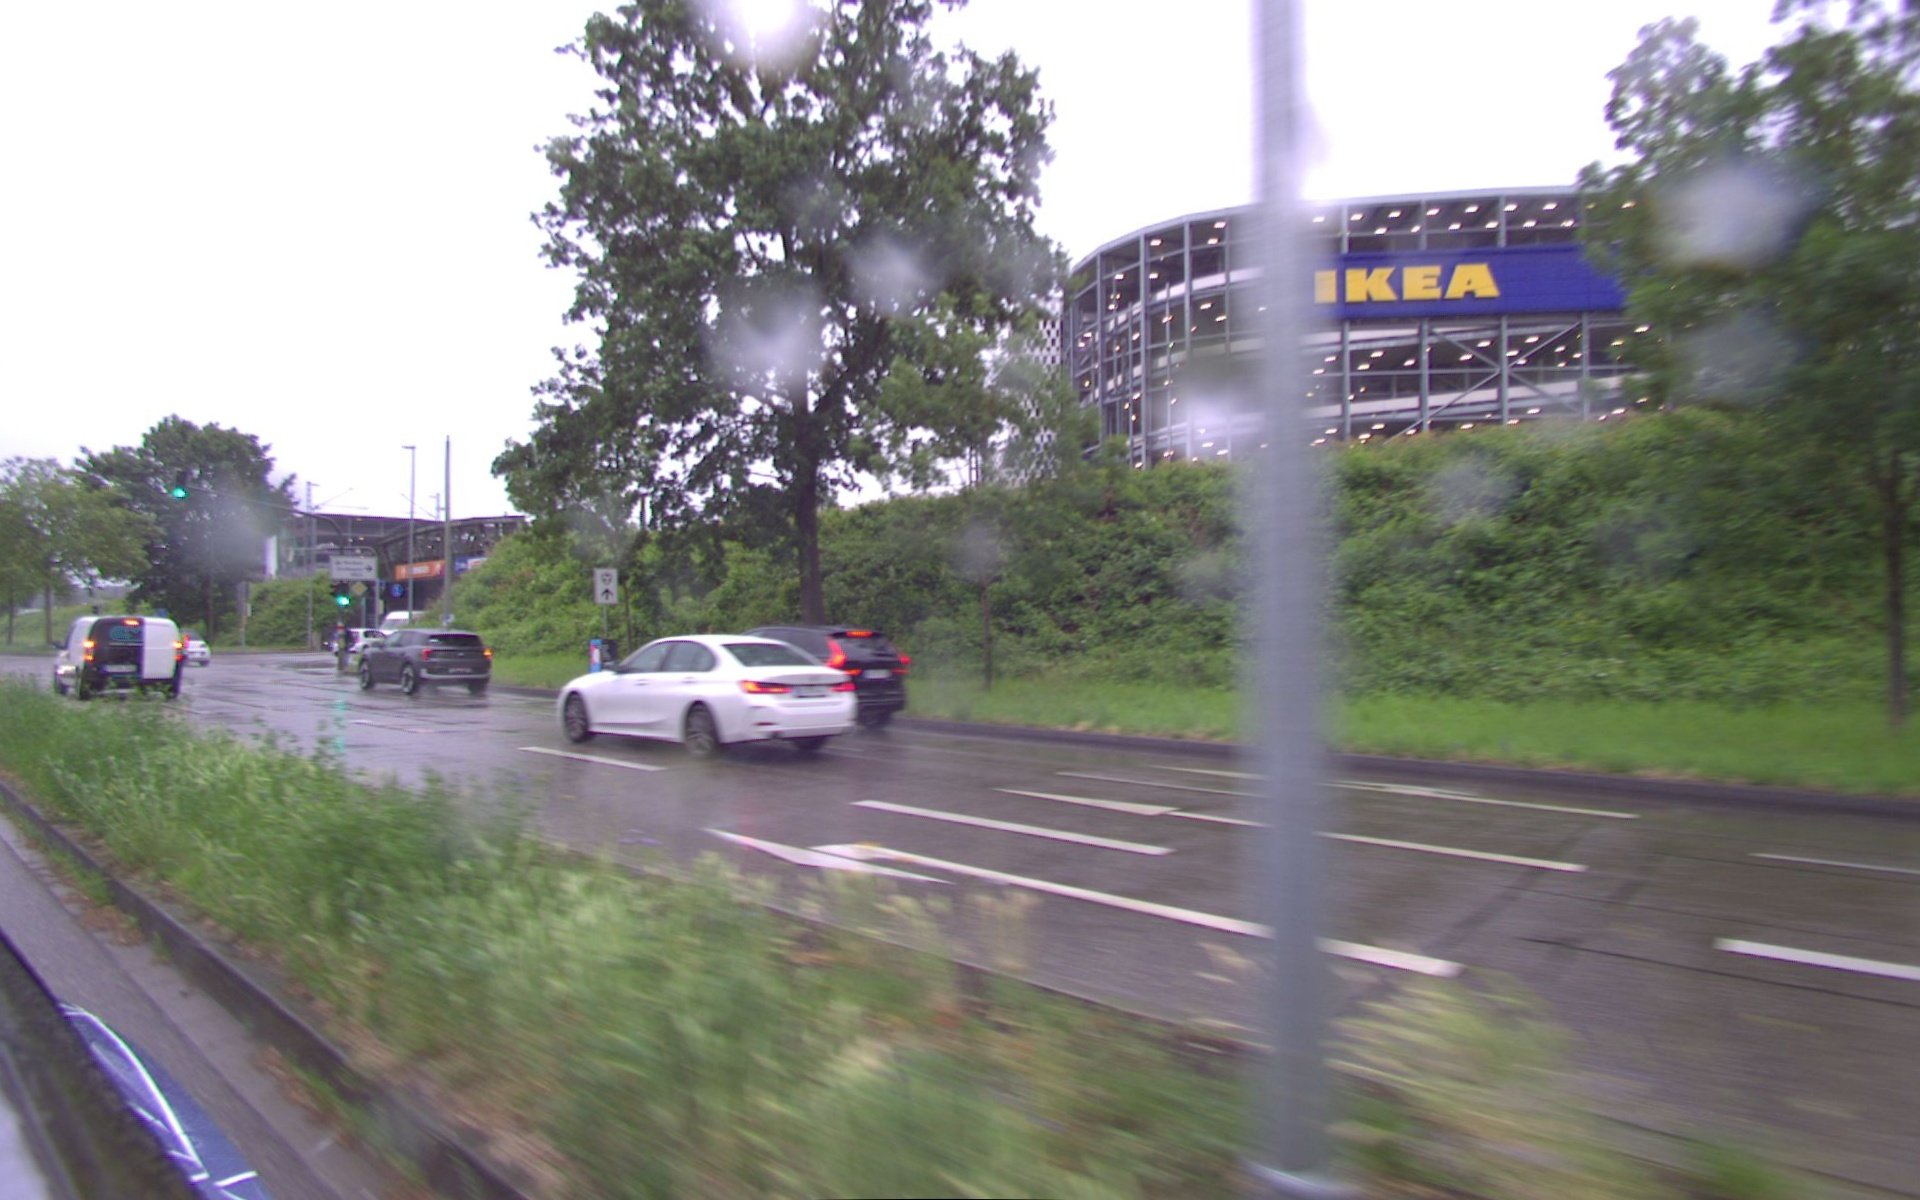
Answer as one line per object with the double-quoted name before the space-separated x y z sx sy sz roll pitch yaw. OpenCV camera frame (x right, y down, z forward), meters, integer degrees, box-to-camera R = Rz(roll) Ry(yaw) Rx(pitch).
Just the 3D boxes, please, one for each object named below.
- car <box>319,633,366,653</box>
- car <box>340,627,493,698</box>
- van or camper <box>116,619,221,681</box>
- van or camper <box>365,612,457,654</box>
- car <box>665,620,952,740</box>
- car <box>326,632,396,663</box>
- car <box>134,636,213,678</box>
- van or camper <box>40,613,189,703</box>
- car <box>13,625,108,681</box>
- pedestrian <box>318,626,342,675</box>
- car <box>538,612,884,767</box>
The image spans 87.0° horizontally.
"car" -44.117 3.078 72.411 1.667 1.358 3.475 1 -2 -9
"car" -13.741 1.508 25.509 4.402 1.625 1.879 -1 -3 40
"van or camper" -24.626 1.520 31.444 4.217 1.798 1.683 -1 -3 40
"van or camper" -36.796 2.211 68.099 1.975 2.682 6.917 0 -2 5
"car" -2.551 1.190 16.388 4.675 1.673 2.017 -1 -3 40
"car" -32.523 2.566 55.057 1.631 1.614 3.565 0 -2 1
"car" -31.122 2.236 40.013 3.784 1.555 1.655 -1 -3 40
"van or camper" -18.298 1.226 21.853 3.996 1.755 1.711 -1 -4 40
"car" -27.671 1.581 31.098 3.772 1.573 1.757 -2 -1 41
"pedestrian" -23.166 1.855 37.214 0.625 1.801 0.480 -1 -2 33
"car" -3.310 1.037 12.920 4.708 1.625 1.879 -1 -4 41
